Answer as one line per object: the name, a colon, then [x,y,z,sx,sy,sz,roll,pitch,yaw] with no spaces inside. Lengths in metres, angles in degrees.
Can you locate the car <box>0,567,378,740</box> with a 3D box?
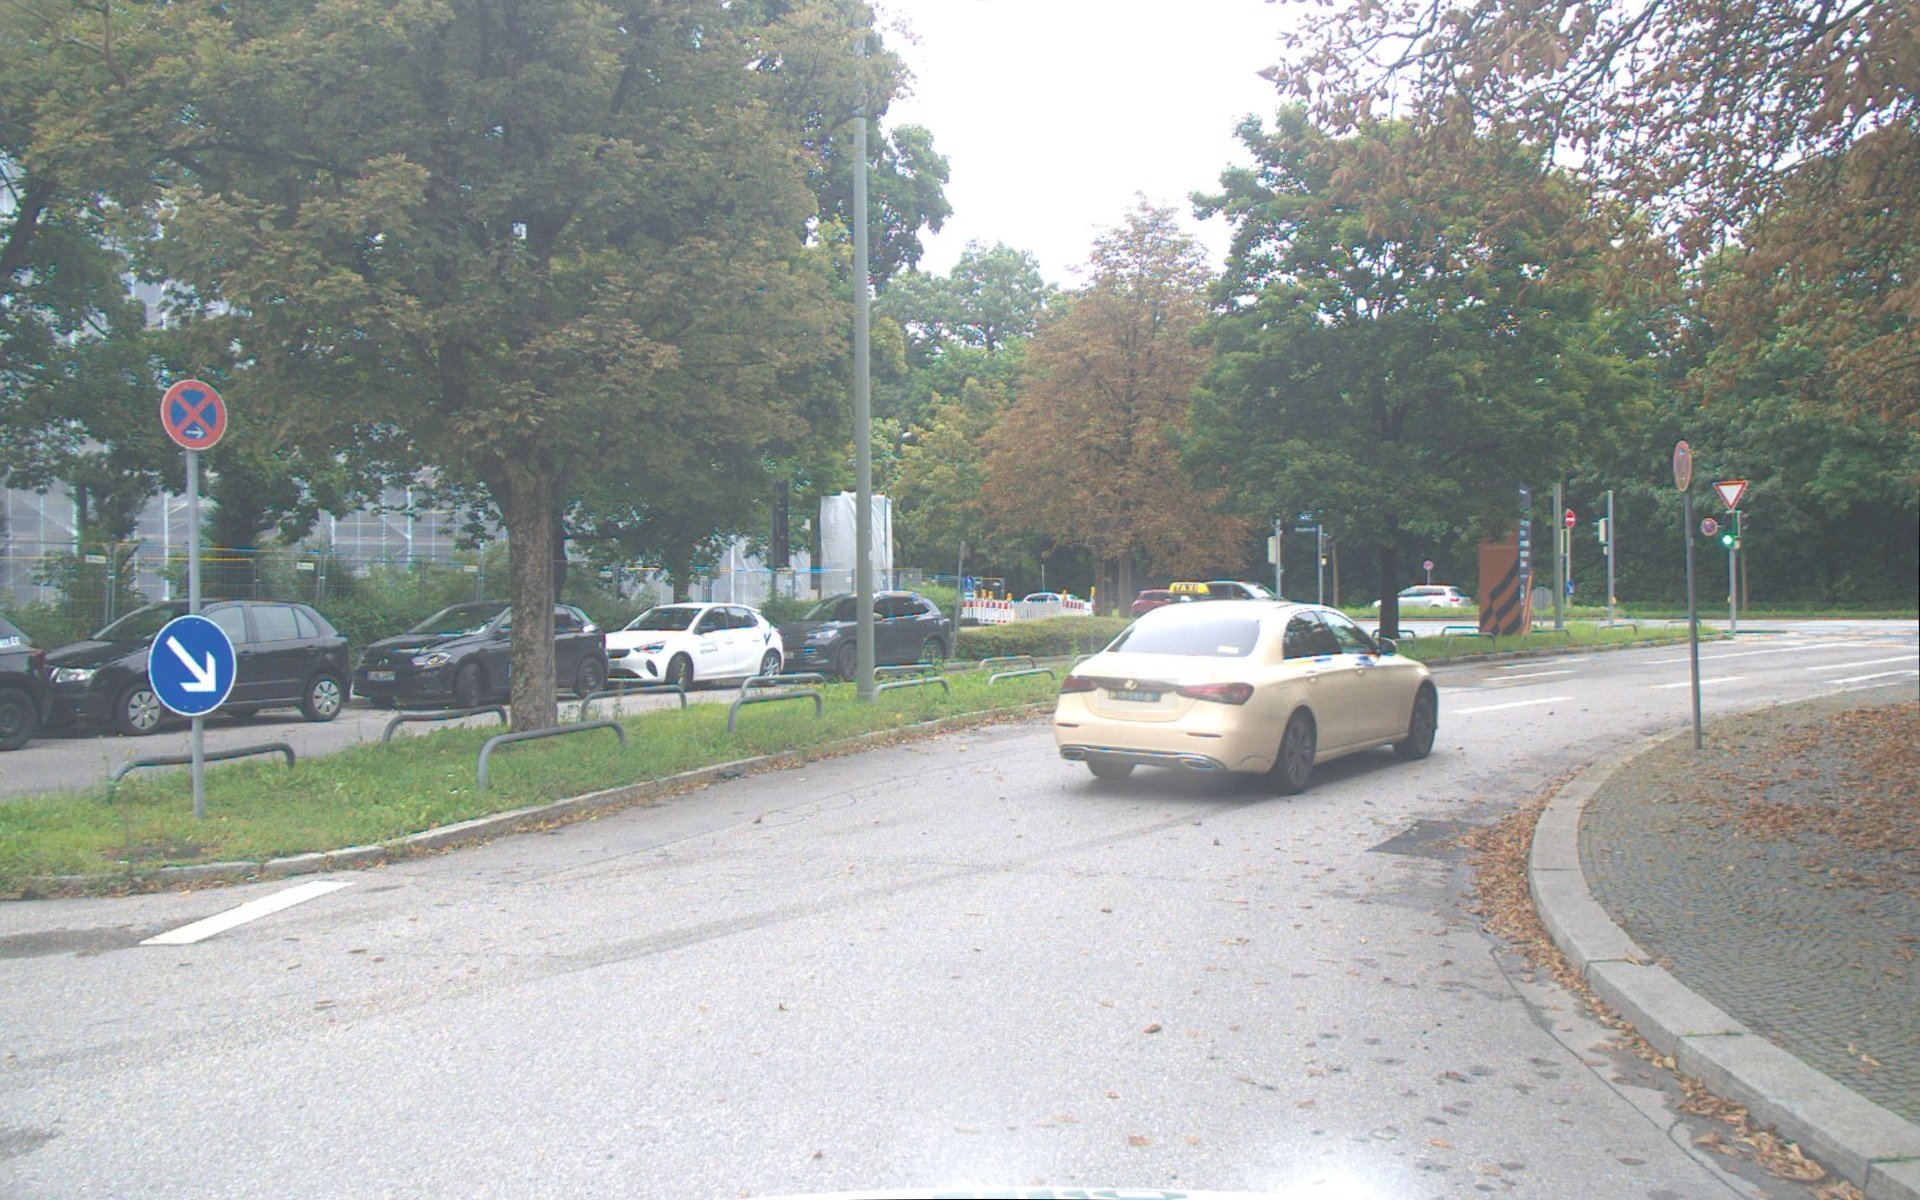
car: [-8.907,0.533,19.003,1.954,1.735,3.998,1,0,24]

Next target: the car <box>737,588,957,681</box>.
car: [-2.066,0.680,31.505,1.853,1.634,4.380,-1,-2,35]

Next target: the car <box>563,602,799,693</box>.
car: [-4.587,0.748,27.854,1.761,1.408,4.213,-1,-1,27]

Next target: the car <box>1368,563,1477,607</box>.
car: [19.633,-0.618,70.346,1.982,1.780,4.063,-1,0,-41]

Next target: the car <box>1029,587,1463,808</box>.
car: [2.665,0.685,14.309,1.855,1.572,4.837,-1,0,35]

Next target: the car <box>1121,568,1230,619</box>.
car: [8.882,-0.243,68.276,4.087,2.049,1.986,-1,0,44]

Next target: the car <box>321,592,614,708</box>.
car: [-6.851,0.662,23.426,1.798,1.486,4.003,-1,-1,24]

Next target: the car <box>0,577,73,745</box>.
car: [-10.375,0.566,14.748,1.954,1.568,3.998,1,0,24]

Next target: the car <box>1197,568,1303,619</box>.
car: [12.098,-0.259,69.035,3.932,2.049,1.986,-1,0,44]
